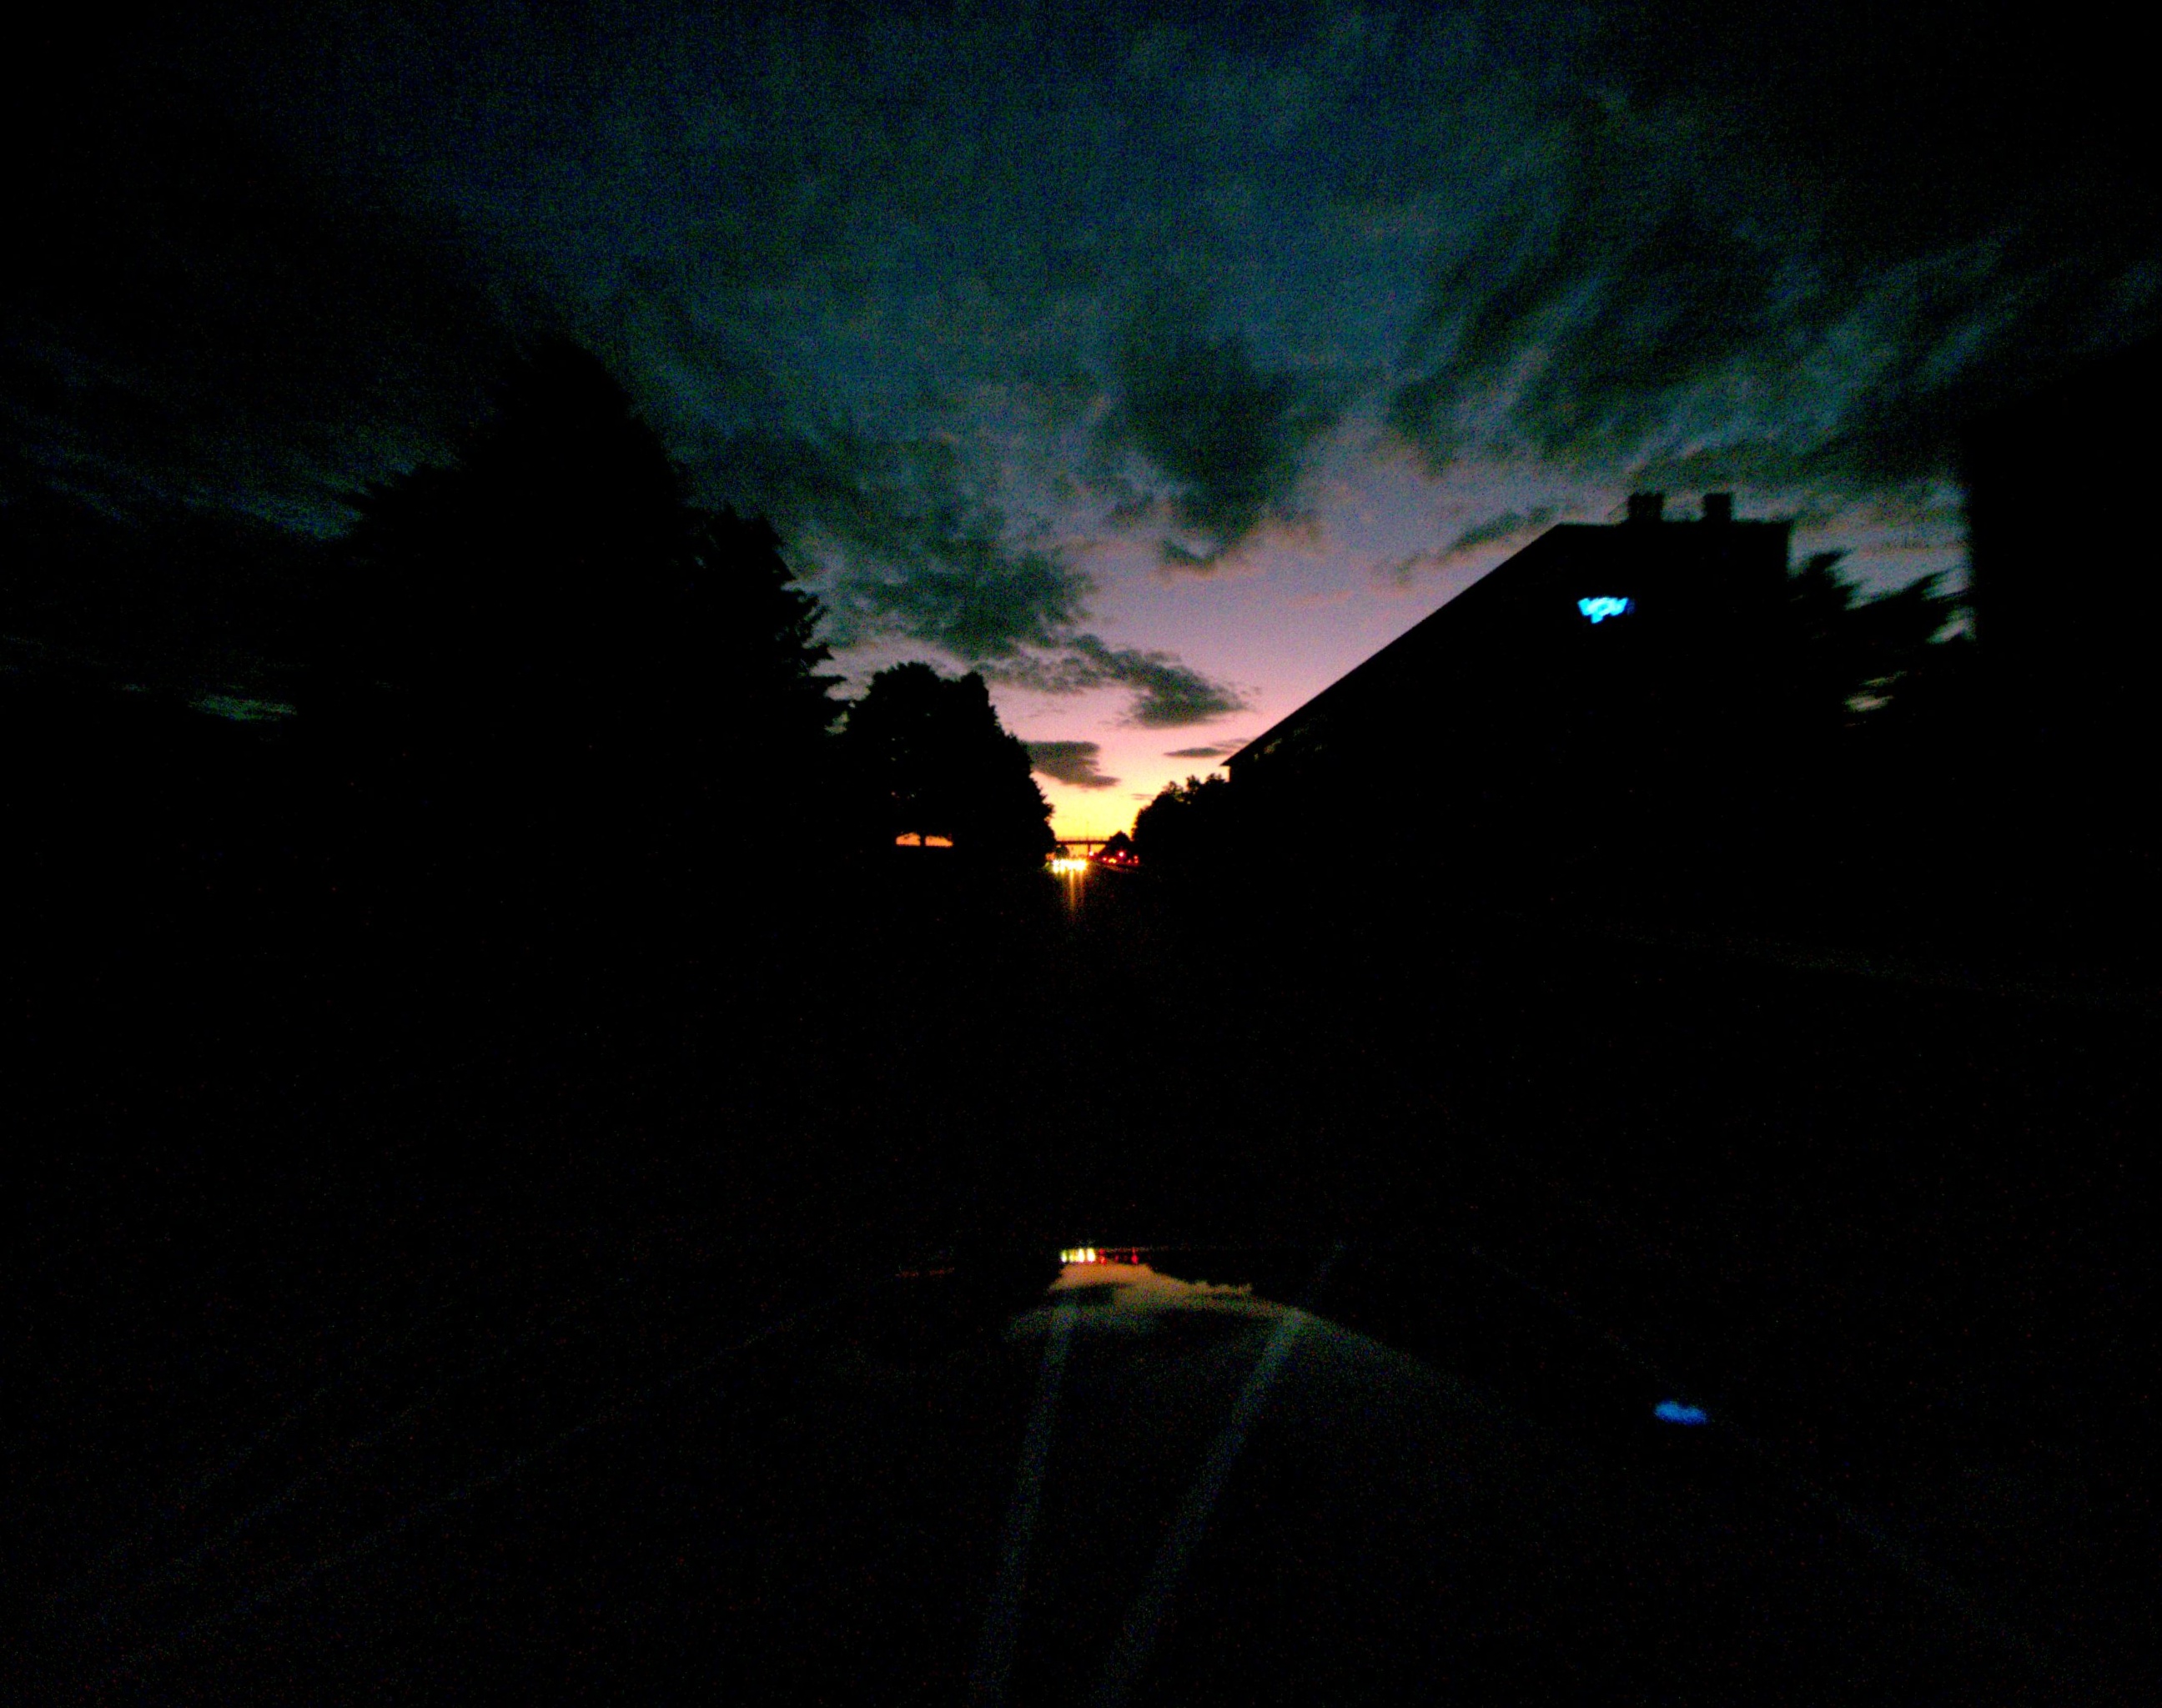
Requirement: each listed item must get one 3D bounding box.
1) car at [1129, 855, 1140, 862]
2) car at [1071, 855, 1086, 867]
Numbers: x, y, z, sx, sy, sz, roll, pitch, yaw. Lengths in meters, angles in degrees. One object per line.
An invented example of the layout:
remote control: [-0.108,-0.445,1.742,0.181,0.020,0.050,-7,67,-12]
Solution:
car: [9.877,0.814,139.585,1.693,1.372,3.571,-1,0,0]
car: [-0.316,0.852,96.026,1.755,1.447,3.804,-2,0,1]
